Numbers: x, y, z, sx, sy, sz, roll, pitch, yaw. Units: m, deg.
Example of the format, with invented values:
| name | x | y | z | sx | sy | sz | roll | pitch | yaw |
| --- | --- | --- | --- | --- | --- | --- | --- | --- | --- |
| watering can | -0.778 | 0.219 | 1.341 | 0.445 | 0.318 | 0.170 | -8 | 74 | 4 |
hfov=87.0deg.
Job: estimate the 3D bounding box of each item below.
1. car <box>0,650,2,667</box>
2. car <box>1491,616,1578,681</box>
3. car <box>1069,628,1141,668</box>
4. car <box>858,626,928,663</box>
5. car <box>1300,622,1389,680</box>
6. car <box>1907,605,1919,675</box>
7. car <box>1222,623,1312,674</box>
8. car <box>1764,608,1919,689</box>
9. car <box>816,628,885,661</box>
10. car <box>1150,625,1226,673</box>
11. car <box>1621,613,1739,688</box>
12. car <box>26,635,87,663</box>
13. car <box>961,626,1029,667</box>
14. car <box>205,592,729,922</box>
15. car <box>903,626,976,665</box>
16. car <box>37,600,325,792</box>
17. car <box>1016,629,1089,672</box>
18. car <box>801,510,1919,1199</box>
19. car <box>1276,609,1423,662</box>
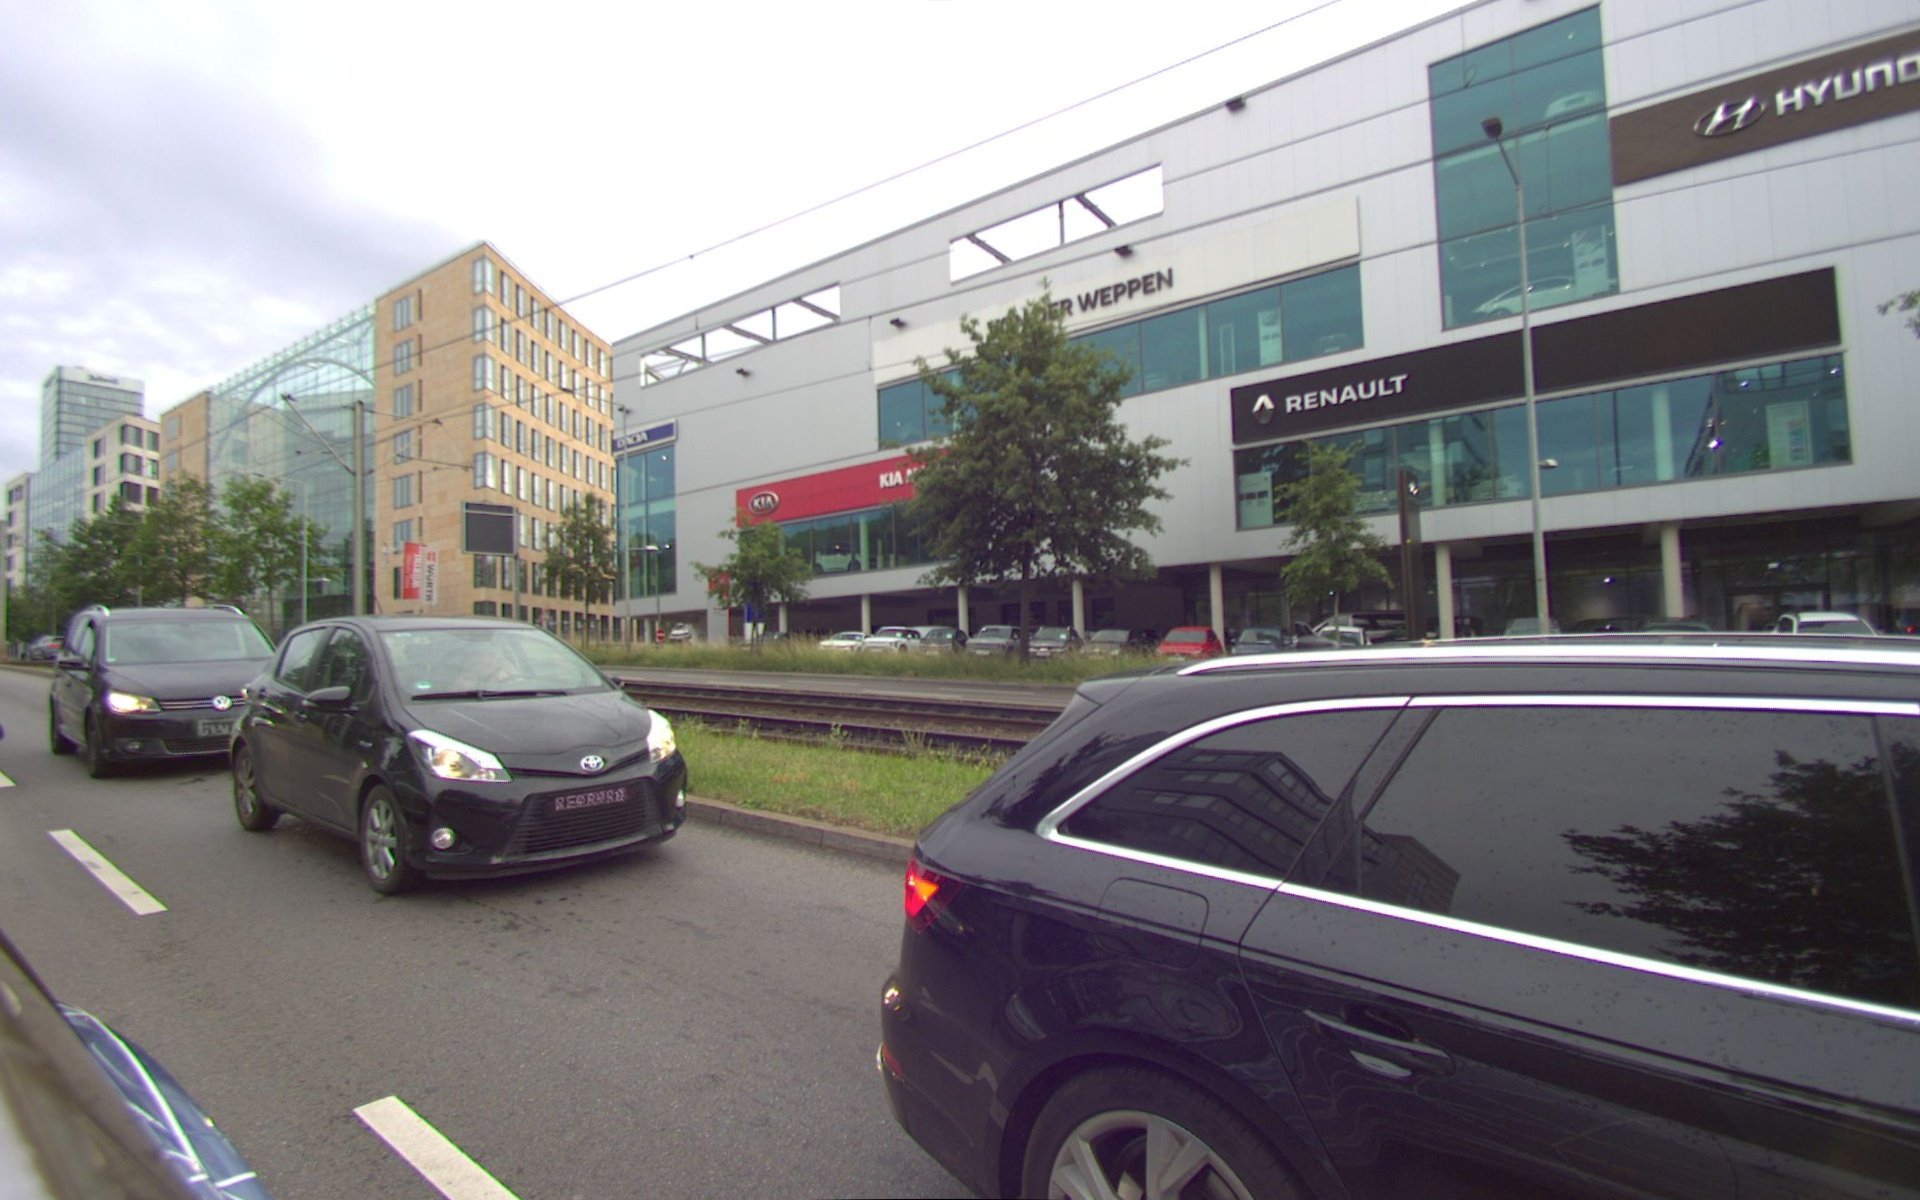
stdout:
| name | x | y | z | sx | sy | sz | roll | pitch | yaw |
| --- | --- | --- | --- | --- | --- | --- | --- | --- | --- |
| car | -88.439 | 5.266 | 91.829 | 4.096 | 1.524 | 1.569 | -2 | -4 | 38 |
| car | 15.867 | 1.278 | 27.967 | 1.925 | 1.470 | 3.981 | -1 | 1 | 30 |
| car | 5.255 | 1.692 | 36.319 | 1.688 | 1.190 | 3.498 | -2 | 1 | 24 |
| car | -2.785 | 1.876 | 42.958 | 1.685 | 1.304 | 3.643 | -2 | 1 | 18 |
| car | 11.959 | 1.522 | 31.342 | 1.914 | 1.470 | 4.005 | -1 | 1 | 30 |
| car | 22.849 | 0.977 | 22.256 | 1.992 | 1.627 | 4.331 | -1 | 1 | 30 |
| car | 10.085 | 1.547 | 33.038 | 1.914 | 1.362 | 4.005 | -1 | 1 | 30 |
| car | 20.605 | 1.055 | 23.805 | 1.992 | 1.562 | 4.331 | -1 | 1 | 30 |
| car | -4.776 | 1.947 | 44.635 | 1.685 | 1.196 | 3.643 | -2 | 1 | 18 |
| car | 7.822 | 1.622 | 34.442 | 1.789 | 1.362 | 3.903 | -2 | 1 | 24 |
| car | 18.066 | 1.202 | 25.581 | 1.992 | 1.562 | 4.331 | -1 | 1 | 30 |
| car | -58.219 | 3.115 | 65.160 | 4.832 | 1.733 | 1.975 | -2 | -4 | 37 |
| car | 1.424 | 1.799 | 39.695 | 1.686 | 1.362 | 3.503 | -2 | 1 | 20 |
| car | -3.382 | 0.779 | 6.636 | 3.823 | 1.544 | 1.683 | -1 | -1 | 40 |
| car | -0.778 | 1.820 | 41.028 | 1.688 | 1.362 | 3.499 | -2 | 1 | 23 |
| car | -8.445 | 0.868 | 10.818 | 4.317 | 1.619 | 1.762 | -2 | 0 | 43 |
| car | 3.507 | 1.844 | 37.780 | 1.688 | 1.362 | 3.498 | -2 | 1 | 24 |
| car | 1.913 | 0.638 | 1.487 | 4.511 | 1.478 | 1.762 | -2 | -2 | 41 |
| car | 13.966 | 1.260 | 36.494 | 4.488 | 1.796 | 1.997 | -1 | -1 | 5 |
